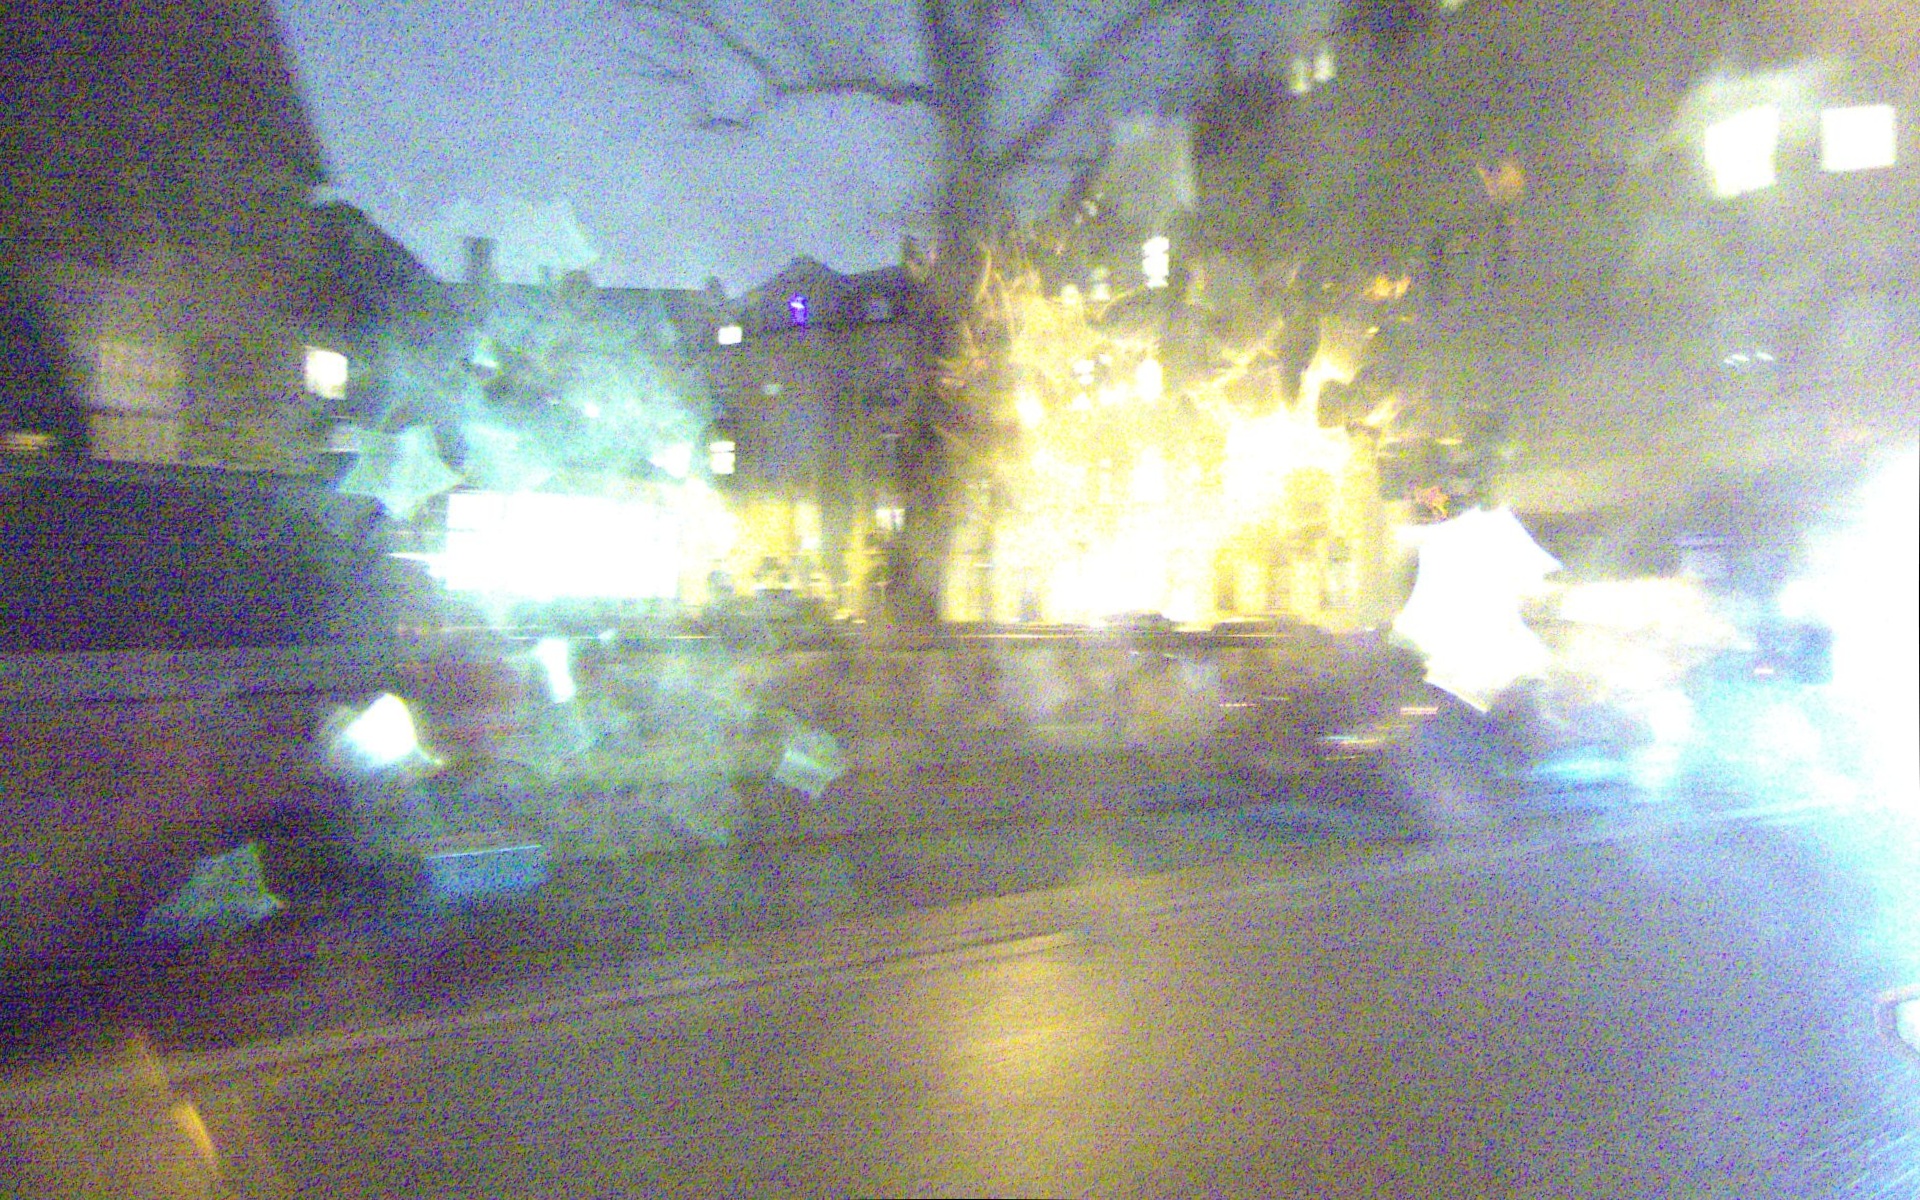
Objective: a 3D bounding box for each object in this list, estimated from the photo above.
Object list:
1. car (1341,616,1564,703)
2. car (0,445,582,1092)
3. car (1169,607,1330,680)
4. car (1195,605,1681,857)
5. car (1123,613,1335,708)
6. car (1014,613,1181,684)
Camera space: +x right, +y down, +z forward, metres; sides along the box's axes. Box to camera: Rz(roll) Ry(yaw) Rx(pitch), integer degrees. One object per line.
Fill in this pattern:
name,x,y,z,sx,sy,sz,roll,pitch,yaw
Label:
car,10.301,1.174,21.296,1.769,1.559,3.971,1,0,-28
car,-3.910,0.488,3.357,4.766,1.870,1.859,1,-1,-28
car,7.521,1.083,26.465,1.863,1.703,3.971,1,0,-28
car,3.636,0.818,7.550,3.520,1.462,1.539,1,1,-30
car,4.968,1.062,19.077,1.695,1.592,3.917,1,-1,-28
car,3.035,1.073,22.987,1.832,1.468,3.971,0,-2,-28
